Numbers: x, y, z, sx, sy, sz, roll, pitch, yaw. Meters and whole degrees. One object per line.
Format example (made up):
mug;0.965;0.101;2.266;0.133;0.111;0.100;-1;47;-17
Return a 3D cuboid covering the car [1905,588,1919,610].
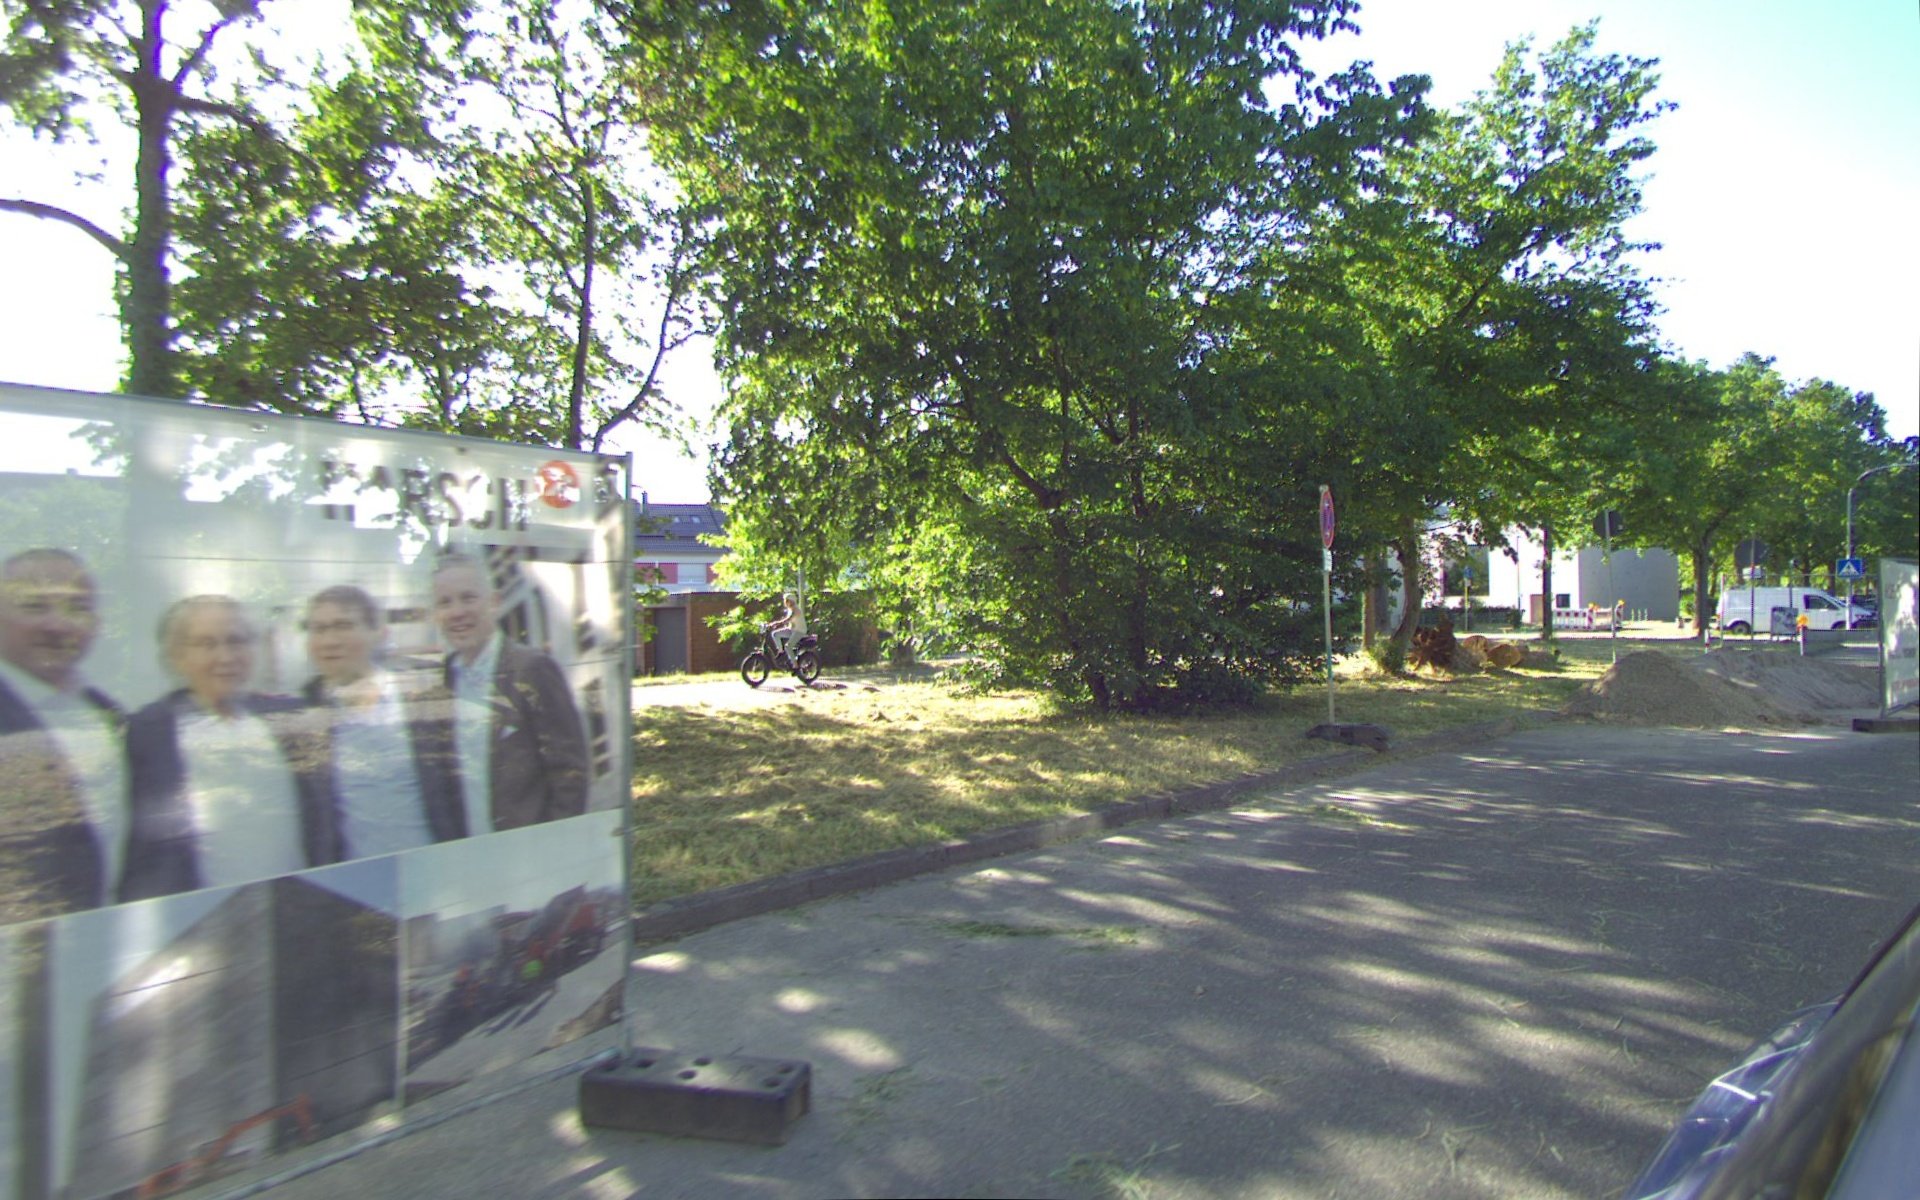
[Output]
car;83.846;-0.131;86.734;1.831;1.872;3.992;0;-1;-41

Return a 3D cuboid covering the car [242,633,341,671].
car;-32.161;2.486;48.746;3.566;1.637;1.813;-1;-1;-7

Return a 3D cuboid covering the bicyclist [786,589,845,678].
bicyclist;-2.811;0.642;19.668;0.835;1.687;0.725;-1;-2;-43

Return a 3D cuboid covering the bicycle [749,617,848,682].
bicycle;-3.091;0.927;19.466;1.800;1.165;0.676;0;-2;-44

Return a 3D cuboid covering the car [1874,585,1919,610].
car;69.185;-0.195;73.212;1.505;1.765;4.392;0;-1;-40

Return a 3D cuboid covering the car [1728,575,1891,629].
car;35.413;0.081;42.311;1.858;2.108;5.039;0;0;-42

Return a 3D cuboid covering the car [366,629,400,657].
car;-33.071;2.446;58.072;1.421;1.518;3.644;-1;-1;-26

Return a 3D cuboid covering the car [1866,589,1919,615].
car;67.334;0.150;71.785;1.505;1.765;4.392;0;-1;-40
